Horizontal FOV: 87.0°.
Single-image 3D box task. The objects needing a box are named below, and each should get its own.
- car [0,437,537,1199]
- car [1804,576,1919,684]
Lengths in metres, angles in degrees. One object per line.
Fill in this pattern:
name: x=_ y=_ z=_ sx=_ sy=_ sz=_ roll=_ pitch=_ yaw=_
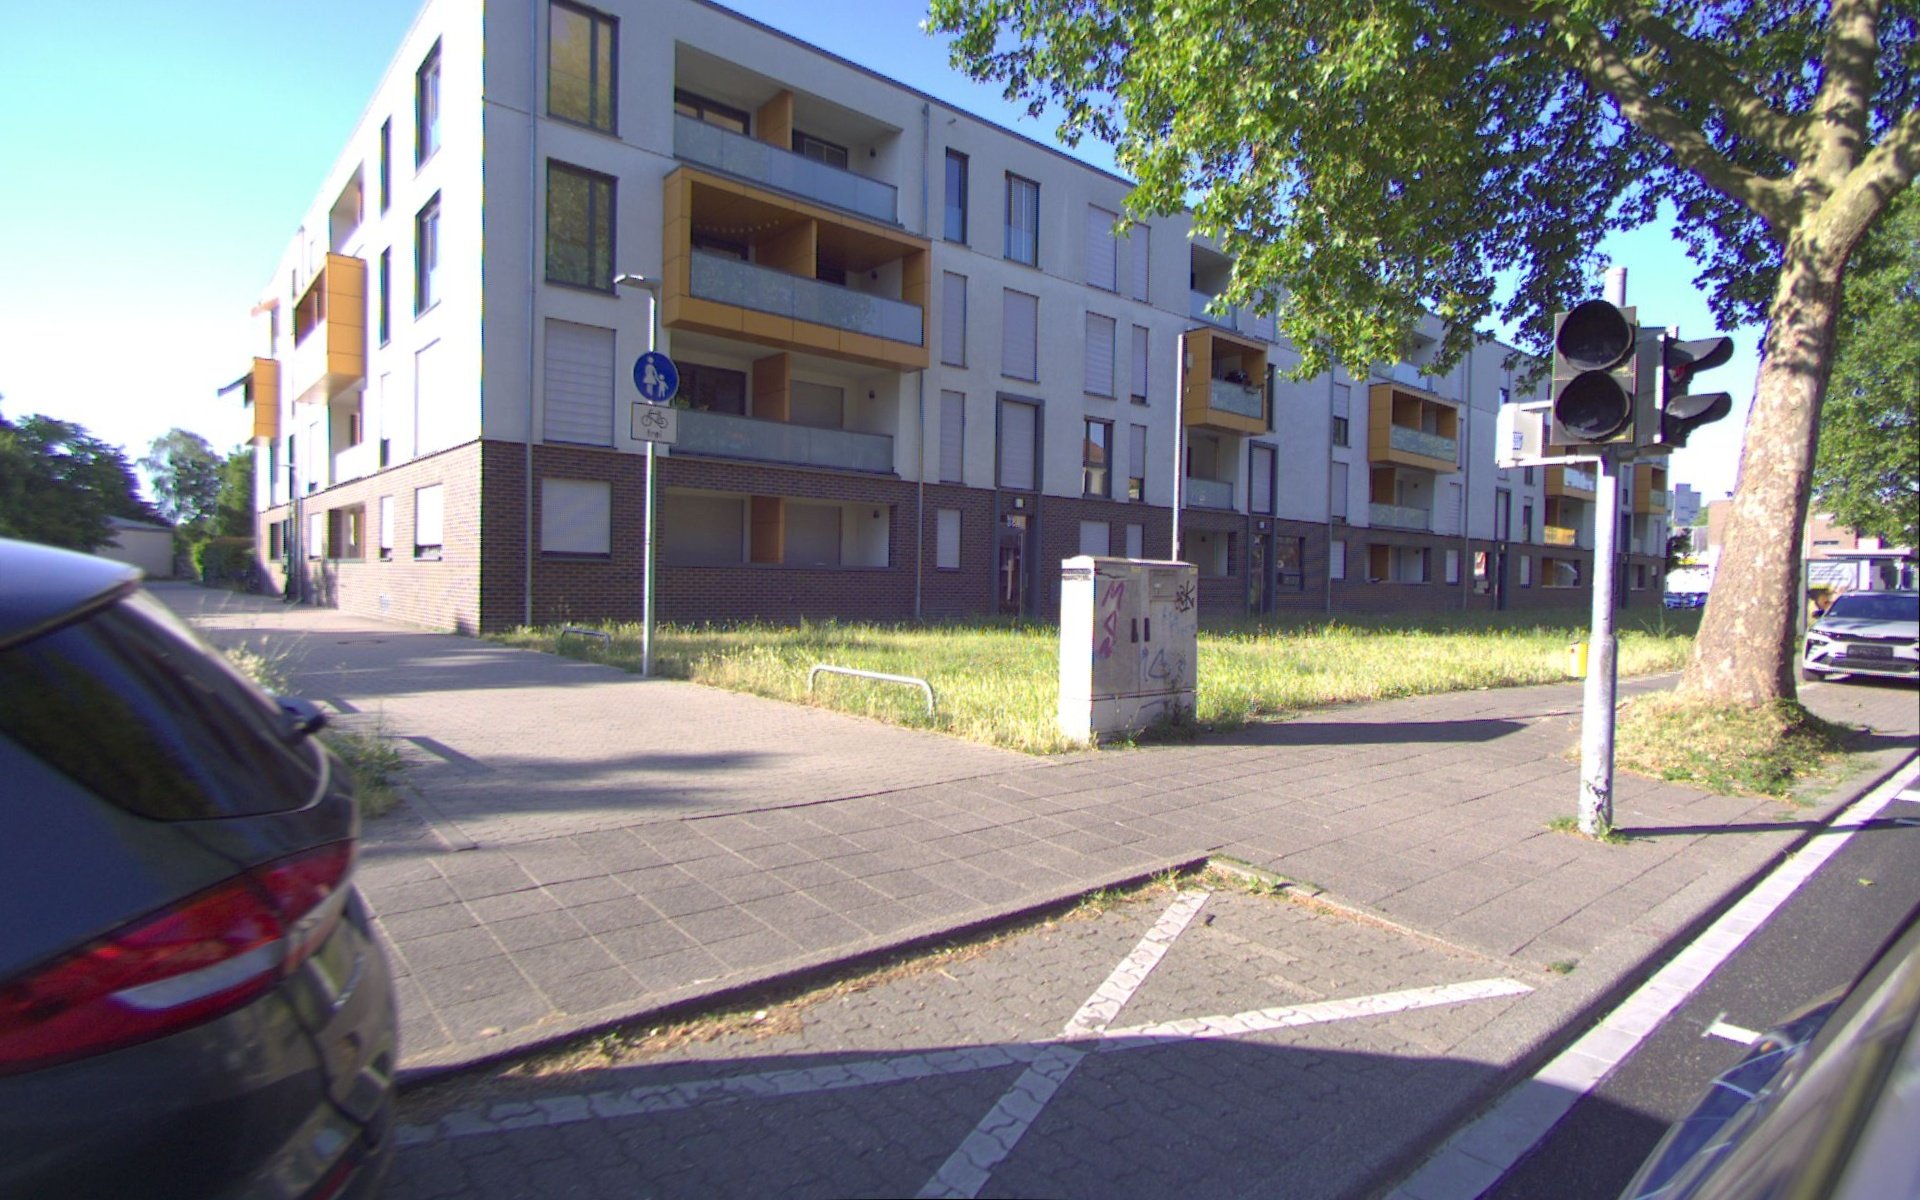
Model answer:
car: x=-2.923 y=0.514 z=0.626 sx=4.611 sy=1.498 sz=1.705 roll=0 pitch=4 yaw=-39
car: x=16.140 y=0.462 z=17.340 sx=4.014 sy=1.632 sz=1.869 roll=0 pitch=3 yaw=-41
